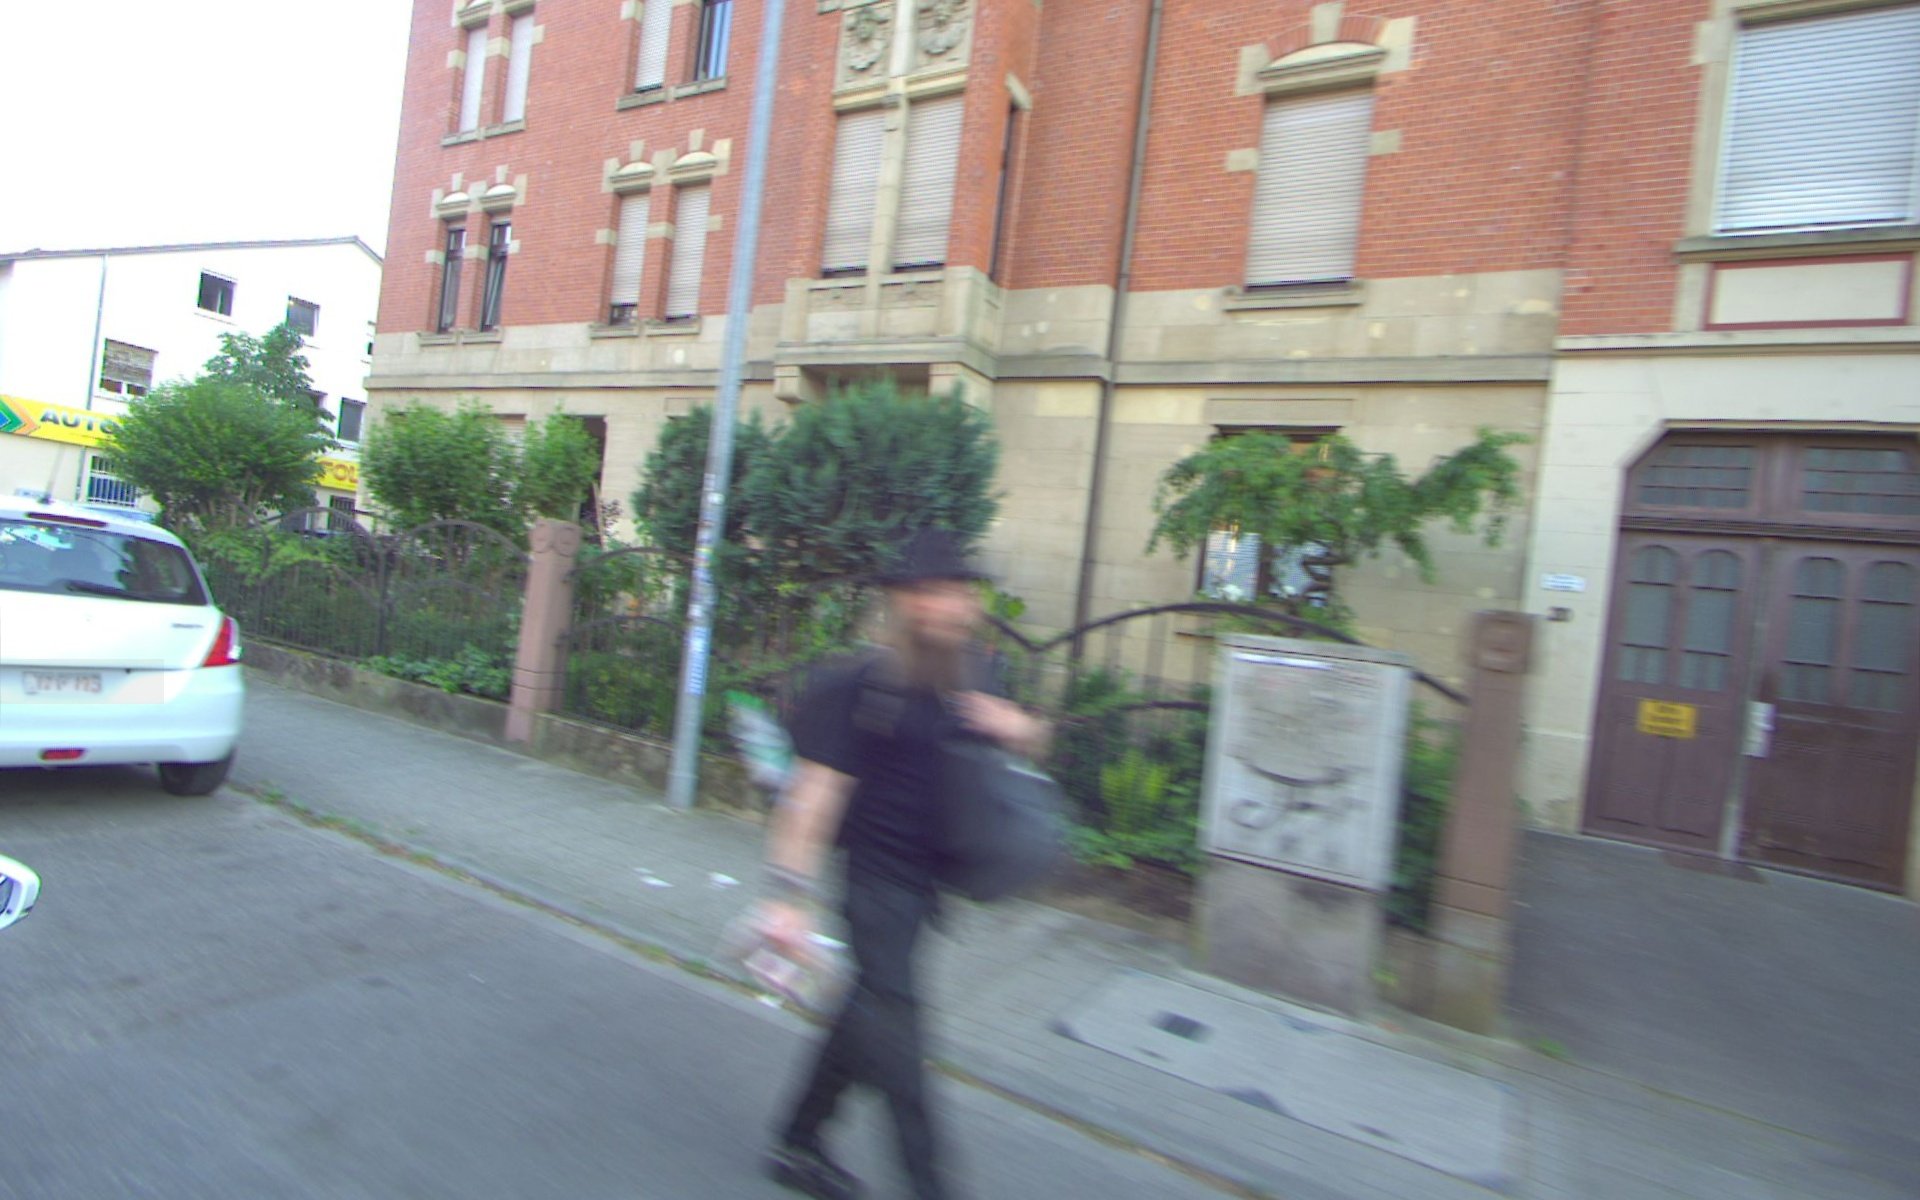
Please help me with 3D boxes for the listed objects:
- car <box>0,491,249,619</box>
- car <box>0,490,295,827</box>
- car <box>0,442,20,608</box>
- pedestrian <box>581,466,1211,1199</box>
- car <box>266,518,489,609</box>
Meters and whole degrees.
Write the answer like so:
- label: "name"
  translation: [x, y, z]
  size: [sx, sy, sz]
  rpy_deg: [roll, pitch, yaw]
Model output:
- label: "car"
  translation: [-12.671, -0.710, 14.937]
  size: [4.348, 1.442, 1.728]
  rpy_deg: [7, 1, 30]
- label: "car"
  translation: [-5.673, 0.111, 5.727]
  size: [3.799, 1.494, 1.677]
  rpy_deg: [7, -1, 33]
- label: "car"
  translation: [-10.127, -0.610, 8.395]
  size: [4.997, 1.906, 1.897]
  rpy_deg: [7, -1, 31]
- label: "pedestrian"
  translation: [-0.129, 0.644, 2.390]
  size: [0.944, 1.742, 0.889]
  rpy_deg: [7, -1, 37]
- label: "car"
  translation: [-14.153, -0.830, 24.709]
  size: [1.847, 1.692, 4.327]
  rpy_deg: [5, -1, 29]
